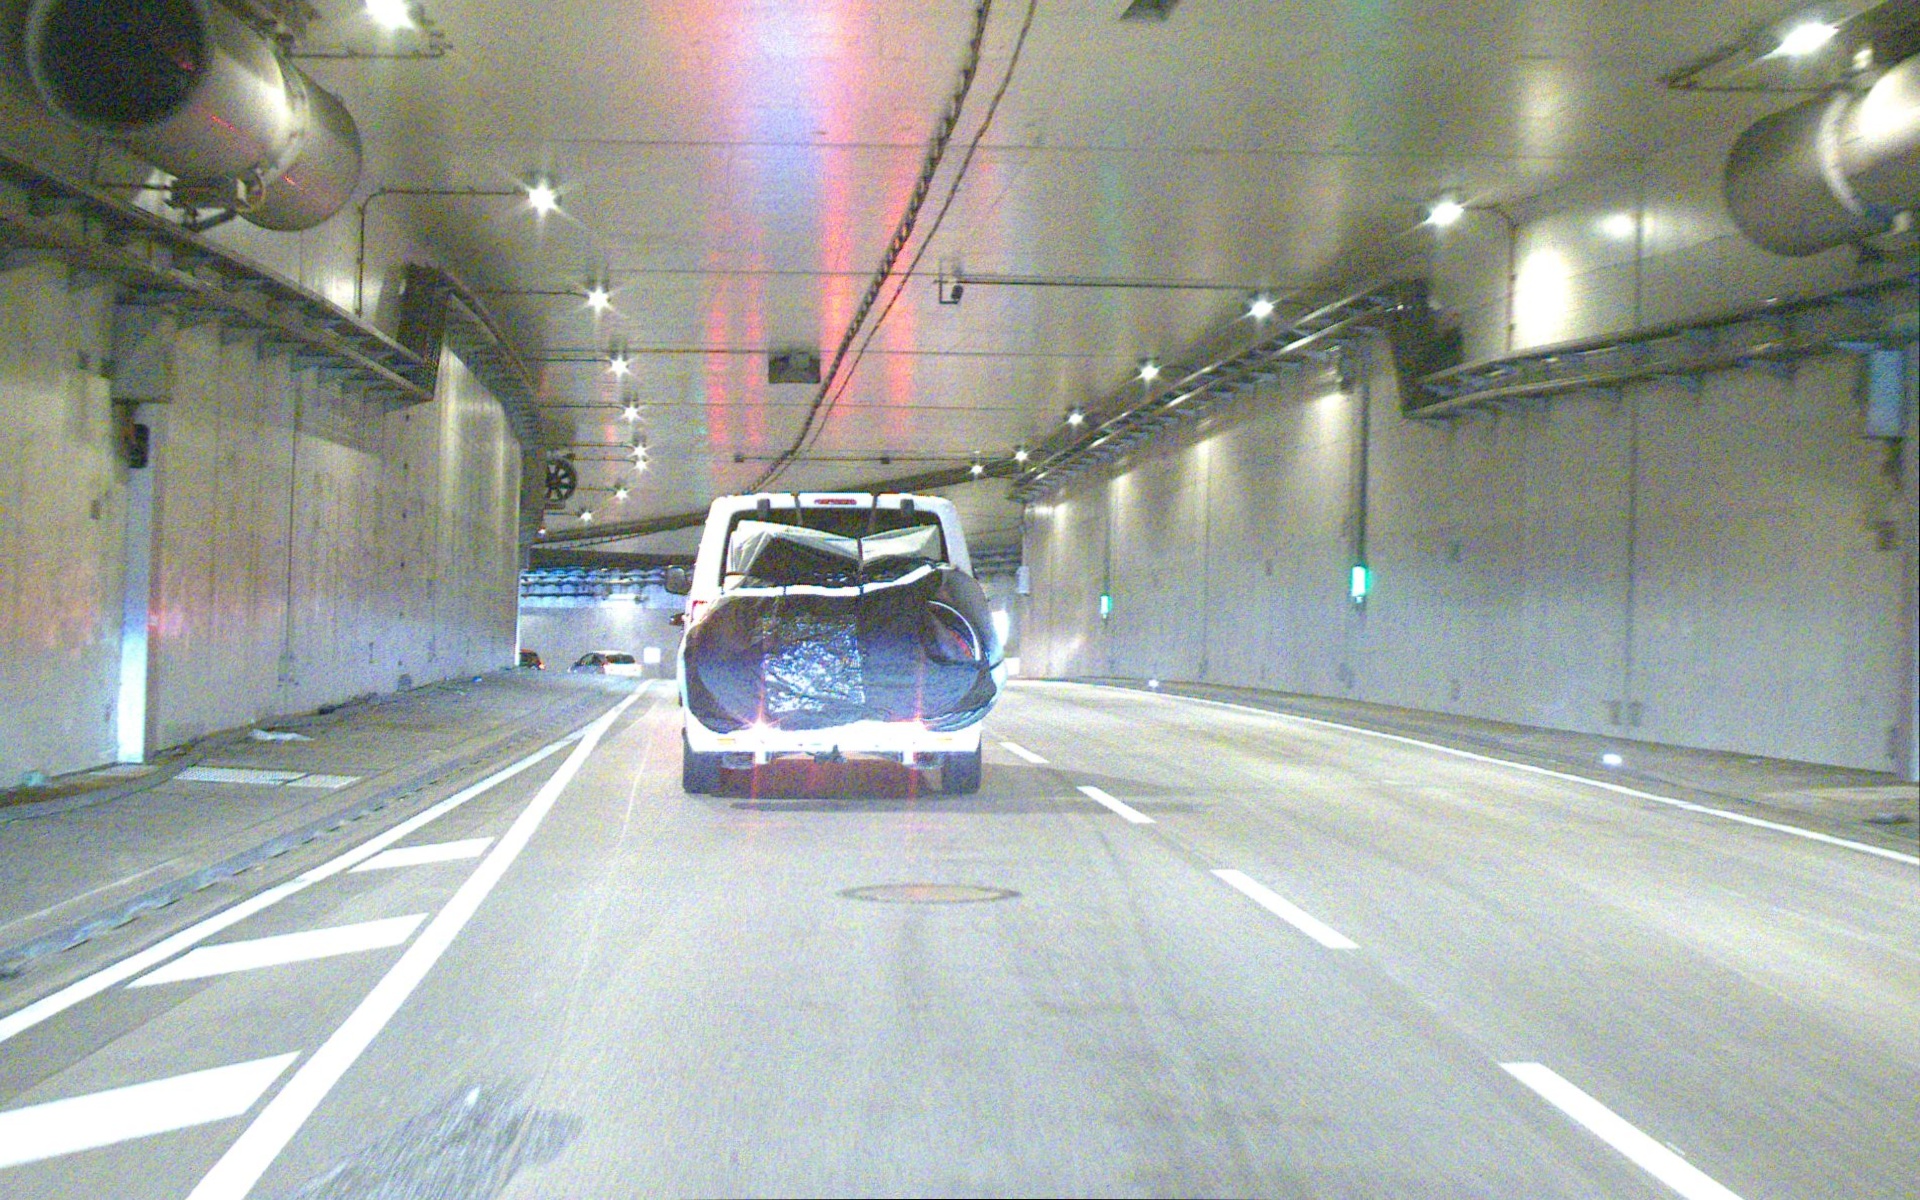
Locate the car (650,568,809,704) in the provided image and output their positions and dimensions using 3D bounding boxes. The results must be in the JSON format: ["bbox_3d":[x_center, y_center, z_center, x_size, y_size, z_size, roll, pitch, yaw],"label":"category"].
[{"bbox_3d":[-2.564,0.381,37.737,1.602,1.391,3.278,1,0,-6],"label":"car"}]

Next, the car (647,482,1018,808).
[{"bbox_3d":[-0.962,0.231,22.259,1.993,1.841,5.302,1,1,-6],"label":"car"}]

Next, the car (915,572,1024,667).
[{"bbox_3d":[0.149,0.365,60.884,1.602,1.625,3.356,0,-1,-5],"label":"car"}]
